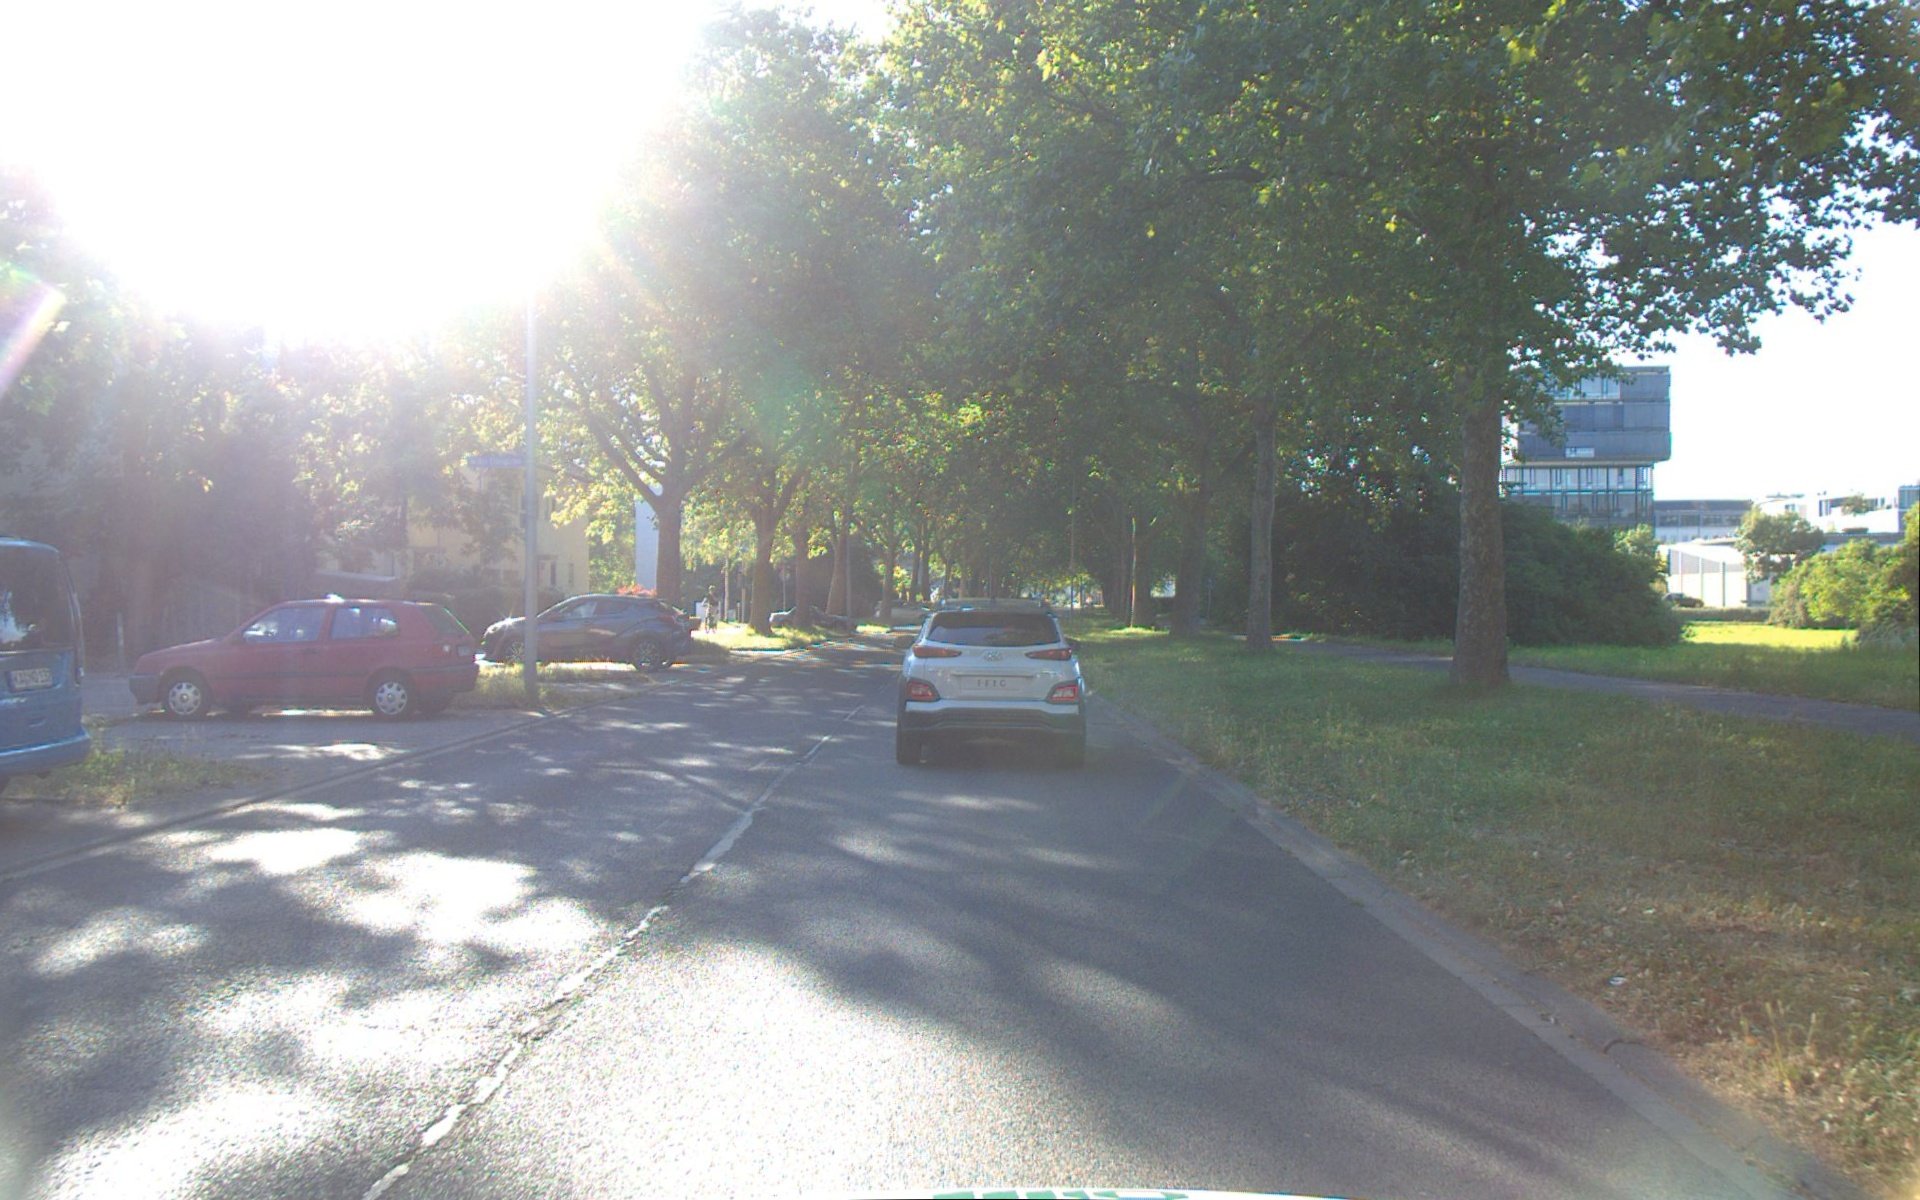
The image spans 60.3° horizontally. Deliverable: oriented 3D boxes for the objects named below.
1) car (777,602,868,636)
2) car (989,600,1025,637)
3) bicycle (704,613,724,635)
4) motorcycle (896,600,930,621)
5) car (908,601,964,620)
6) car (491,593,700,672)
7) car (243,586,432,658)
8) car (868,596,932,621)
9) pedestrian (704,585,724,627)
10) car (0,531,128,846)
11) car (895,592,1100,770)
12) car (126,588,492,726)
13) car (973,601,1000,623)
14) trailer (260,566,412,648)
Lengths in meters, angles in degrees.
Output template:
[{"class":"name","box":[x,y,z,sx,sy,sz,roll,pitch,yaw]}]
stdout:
[{"class":"car","box":[-6.019,0.829,72.597,3.746,1.339,1.790,2,0,2]},{"class":"car","box":[2.220,0.880,78.858,1.642,1.725,3.745,0,0,0]},{"class":"bicycle","box":[-10.207,1.005,68.642,0.460,0.896,2.156,0,0,2]},{"class":"motorcycle","box":[-3.193,0.698,112.443,2.336,1.412,0.648,0,0,-1]},{"class":"car","box":[-1.855,0.793,126.762,4.151,1.376,1.742,-1,-1,3]},{"class":"car","box":[-7.457,0.655,34.115,3.907,1.545,1.817,1,0,-2]},{"class":"car","box":[-15.646,0.543,41.704,3.905,1.502,2.000,4,0,1]},{"class":"car","box":[-3.975,0.563,110.078,4.097,1.612,2.000,0,0,0]},{"class":"pedestrian","box":[-10.221,0.242,68.739,0.604,1.746,1.065,0,0,2]},{"class":"car","box":[-7.823,0.486,10.219,4.298,1.856,1.994,1,0,-3]},{"class":"car","box":[0.265,0.753,16.910,1.799,1.583,3.997,1,-1,-3]},{"class":"car","box":[-7.884,0.677,20.286,3.794,1.545,1.664,1,0,-3]},{"class":"car","box":[1.926,0.856,119.829,1.747,1.539,3.840,1,0,3]},{"class":"trailer","box":[-16.874,0.170,44.803,3.383,1.959,1.643,4,1,0]}]
